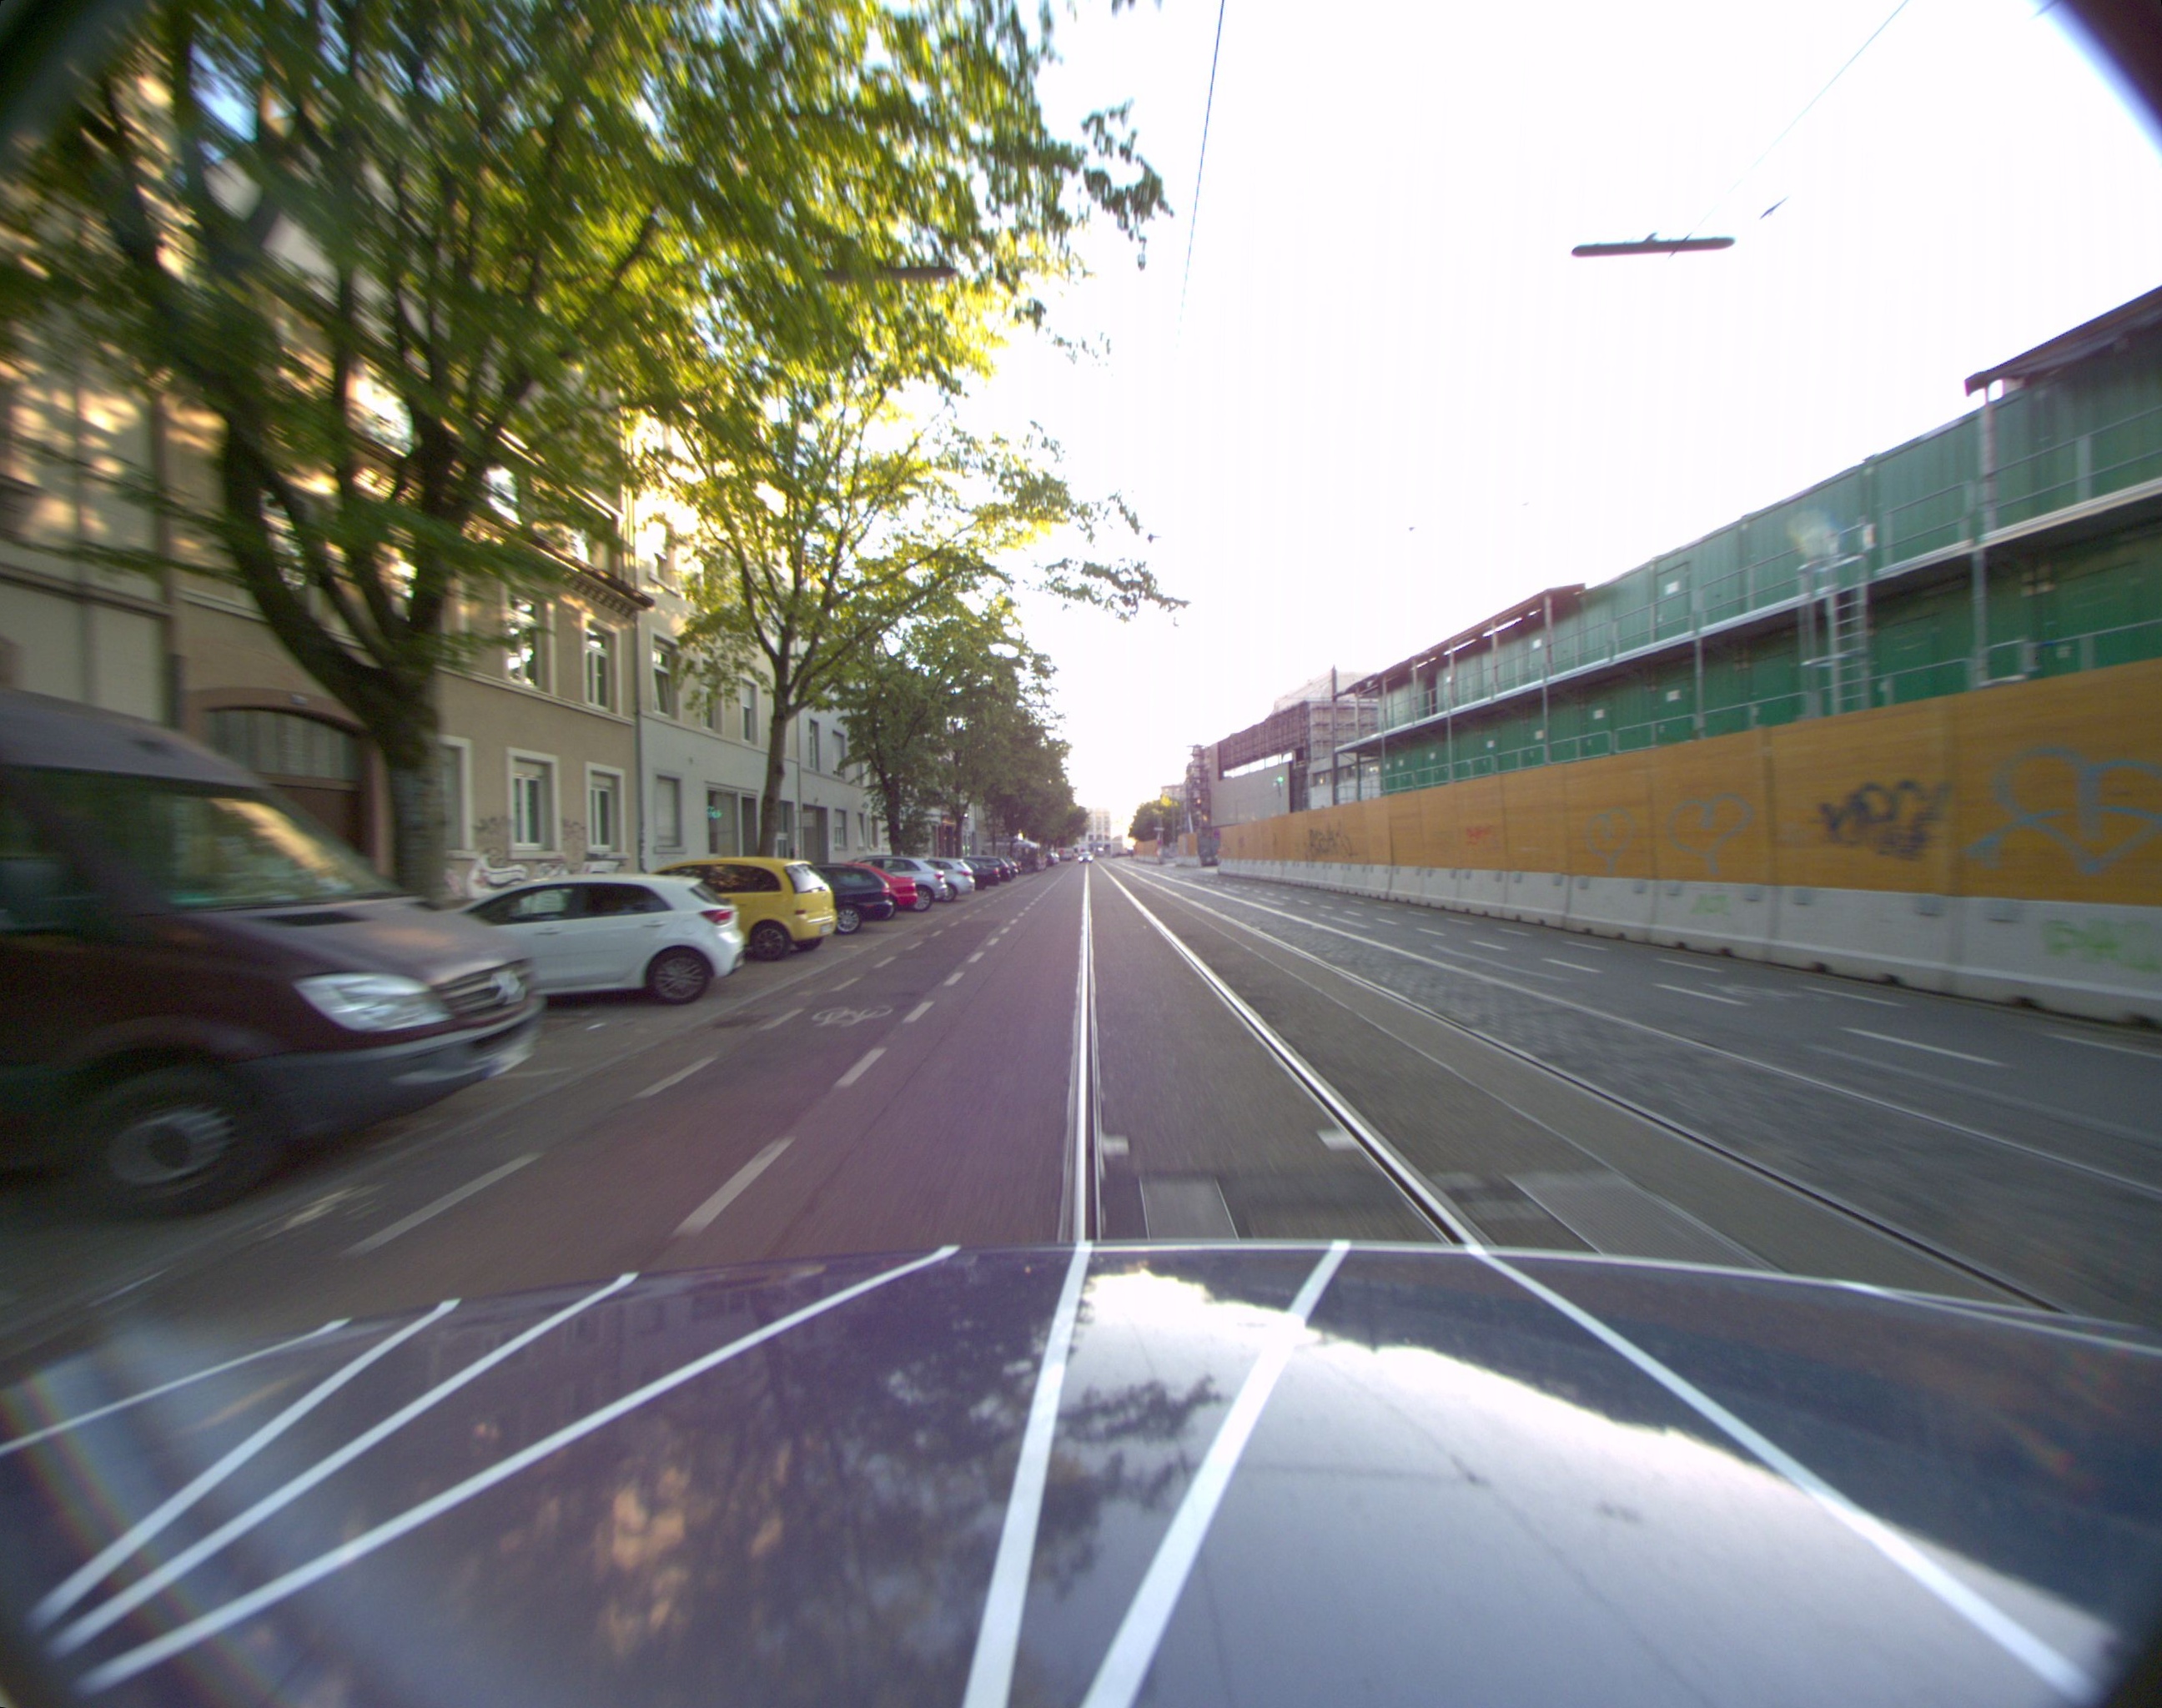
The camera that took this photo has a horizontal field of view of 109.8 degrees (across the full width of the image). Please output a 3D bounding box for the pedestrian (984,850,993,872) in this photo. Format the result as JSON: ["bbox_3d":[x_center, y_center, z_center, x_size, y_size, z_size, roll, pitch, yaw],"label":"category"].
[{"bbox_3d":[-7.543,0.576,61.836,0.552,1.753,0.894,-2,1,0],"label":"pedestrian"}]

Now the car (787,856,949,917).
[{"bbox_3d":[-6.103,0.862,21.714,4.269,1.551,1.894,0,1,-22],"label":"car"}]

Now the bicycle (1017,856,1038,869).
[{"bbox_3d":[-4.453,0.683,63.338,1.683,1.025,0.557,2,1,-1],"label":"bicycle"}]

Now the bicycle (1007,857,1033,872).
[{"bbox_3d":[-4.461,0.764,55.850,1.868,1.025,0.591,2,1,-2],"label":"bicycle"}]

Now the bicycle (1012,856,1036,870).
[{"bbox_3d":[-4.501,0.712,60.015,1.891,1.025,0.608,2,1,-1],"label":"bicycle"}]

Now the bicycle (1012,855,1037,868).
[{"bbox_3d":[-4.507,0.594,60.713,1.891,1.025,0.608,2,1,-1],"label":"bicycle"}]

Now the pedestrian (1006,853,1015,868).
[{"bbox_3d":[-6.139,0.595,66.559,0.553,1.298,0.713,0,1,-27],"label":"pedestrian"}]

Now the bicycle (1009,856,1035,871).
[{"bbox_3d":[-4.485,0.720,57.881,1.891,1.025,0.608,2,1,-1],"label":"bicycle"}]

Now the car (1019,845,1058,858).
[{"bbox_3d":[-5.896,-0.323,105.652,4.984,1.816,2.204,0,0,-17],"label":"car"}]

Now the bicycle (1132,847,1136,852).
[{"bbox_3d":[13.346,-1.019,190.697,0.770,1.221,1.936,-1,0,0],"label":"bicycle"}]

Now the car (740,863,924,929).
[{"bbox_3d":[-6.182,0.958,18.862,4.140,1.416,1.893,0,1,-25],"label":"car"}]

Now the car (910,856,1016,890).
[{"bbox_3d":[-5.264,0.805,33.870,4.270,1.384,2.011,0,1,-26],"label":"car"}]

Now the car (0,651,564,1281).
[{"bbox_3d":[-5.918,0.456,3.805,5.115,2.627,2.018,0,1,-16],"label":"car"}]

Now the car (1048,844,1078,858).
[{"bbox_3d":[-3.599,-0.643,151.573,5.650,2.678,2.166,-1,0,-34],"label":"car"}]

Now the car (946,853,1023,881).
[{"bbox_3d":[-5.544,0.716,43.473,4.132,1.462,1.821,2,0,-15],"label":"car"}]

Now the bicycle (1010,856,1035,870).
[{"bbox_3d":[-4.518,0.675,58.594,1.891,1.025,0.608,2,1,-1],"label":"bicycle"}]

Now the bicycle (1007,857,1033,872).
[{"bbox_3d":[-4.524,0.768,56.508,1.891,1.061,0.674,2,1,-1],"label":"bicycle"}]

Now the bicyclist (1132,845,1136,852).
[{"bbox_3d":[13.325,-1.458,190.692,0.770,1.656,1.018,-1,1,0],"label":"bicyclist"}]

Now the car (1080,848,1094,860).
[{"bbox_3d":[0.884,-0.014,108.094,1.840,1.631,4.169,-5,0,1],"label":"car"}]

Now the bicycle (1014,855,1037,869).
[{"bbox_3d":[-4.464,0.656,61.495,1.820,1.025,0.608,2,1,-1],"label":"bicycle"}]

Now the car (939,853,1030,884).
[{"bbox_3d":[-4.905,0.725,38.524,4.135,1.462,2.011,2,0,-24],"label":"car"}]

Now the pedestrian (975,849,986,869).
[{"bbox_3d":[-8.879,0.469,67.342,0.705,1.753,0.713,-2,1,-27],"label":"pedestrian"}]

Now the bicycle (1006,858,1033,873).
[{"bbox_3d":[-4.496,0.837,55.228,1.908,1.025,0.533,2,1,-2],"label":"bicycle"}]

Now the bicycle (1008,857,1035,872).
[{"bbox_3d":[-4.466,0.783,57.148,1.891,1.025,0.608,2,1,-1],"label":"bicycle"}]

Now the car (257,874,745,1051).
[{"bbox_3d":[-5.959,1.026,8.512,3.968,1.478,1.916,0,1,-23],"label":"car"}]

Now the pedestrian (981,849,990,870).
[{"bbox_3d":[-8.196,0.445,65.412,0.553,1.753,0.851,-2,1,-16],"label":"pedestrian"}]

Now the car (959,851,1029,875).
[{"bbox_3d":[-5.532,0.561,48.331,4.178,1.418,1.821,2,0,-15],"label":"car"}]

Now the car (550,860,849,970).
[{"bbox_3d":[-6.125,0.937,12.558,3.960,1.610,1.920,0,1,1],"label":"car"}]

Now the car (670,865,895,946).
[{"bbox_3d":[-6.144,0.981,15.846,4.140,1.416,1.916,0,1,-25],"label":"car"}]

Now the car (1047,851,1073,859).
[{"bbox_3d":[-4.094,0.245,145.165,4.613,1.504,1.859,1,-1,-22],"label":"car"}]

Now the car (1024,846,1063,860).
[{"bbox_3d":[-4.572,-0.099,93.307,4.661,1.678,2.007,1,0,-1],"label":"car"}]

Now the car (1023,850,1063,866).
[{"bbox_3d":[-4.525,0.475,90.242,4.662,1.678,2.007,-2,1,-4],"label":"car"}]

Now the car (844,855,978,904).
[{"bbox_3d":[-5.662,0.825,25.691,4.265,1.540,2.017,0,1,-10],"label":"car"}]
